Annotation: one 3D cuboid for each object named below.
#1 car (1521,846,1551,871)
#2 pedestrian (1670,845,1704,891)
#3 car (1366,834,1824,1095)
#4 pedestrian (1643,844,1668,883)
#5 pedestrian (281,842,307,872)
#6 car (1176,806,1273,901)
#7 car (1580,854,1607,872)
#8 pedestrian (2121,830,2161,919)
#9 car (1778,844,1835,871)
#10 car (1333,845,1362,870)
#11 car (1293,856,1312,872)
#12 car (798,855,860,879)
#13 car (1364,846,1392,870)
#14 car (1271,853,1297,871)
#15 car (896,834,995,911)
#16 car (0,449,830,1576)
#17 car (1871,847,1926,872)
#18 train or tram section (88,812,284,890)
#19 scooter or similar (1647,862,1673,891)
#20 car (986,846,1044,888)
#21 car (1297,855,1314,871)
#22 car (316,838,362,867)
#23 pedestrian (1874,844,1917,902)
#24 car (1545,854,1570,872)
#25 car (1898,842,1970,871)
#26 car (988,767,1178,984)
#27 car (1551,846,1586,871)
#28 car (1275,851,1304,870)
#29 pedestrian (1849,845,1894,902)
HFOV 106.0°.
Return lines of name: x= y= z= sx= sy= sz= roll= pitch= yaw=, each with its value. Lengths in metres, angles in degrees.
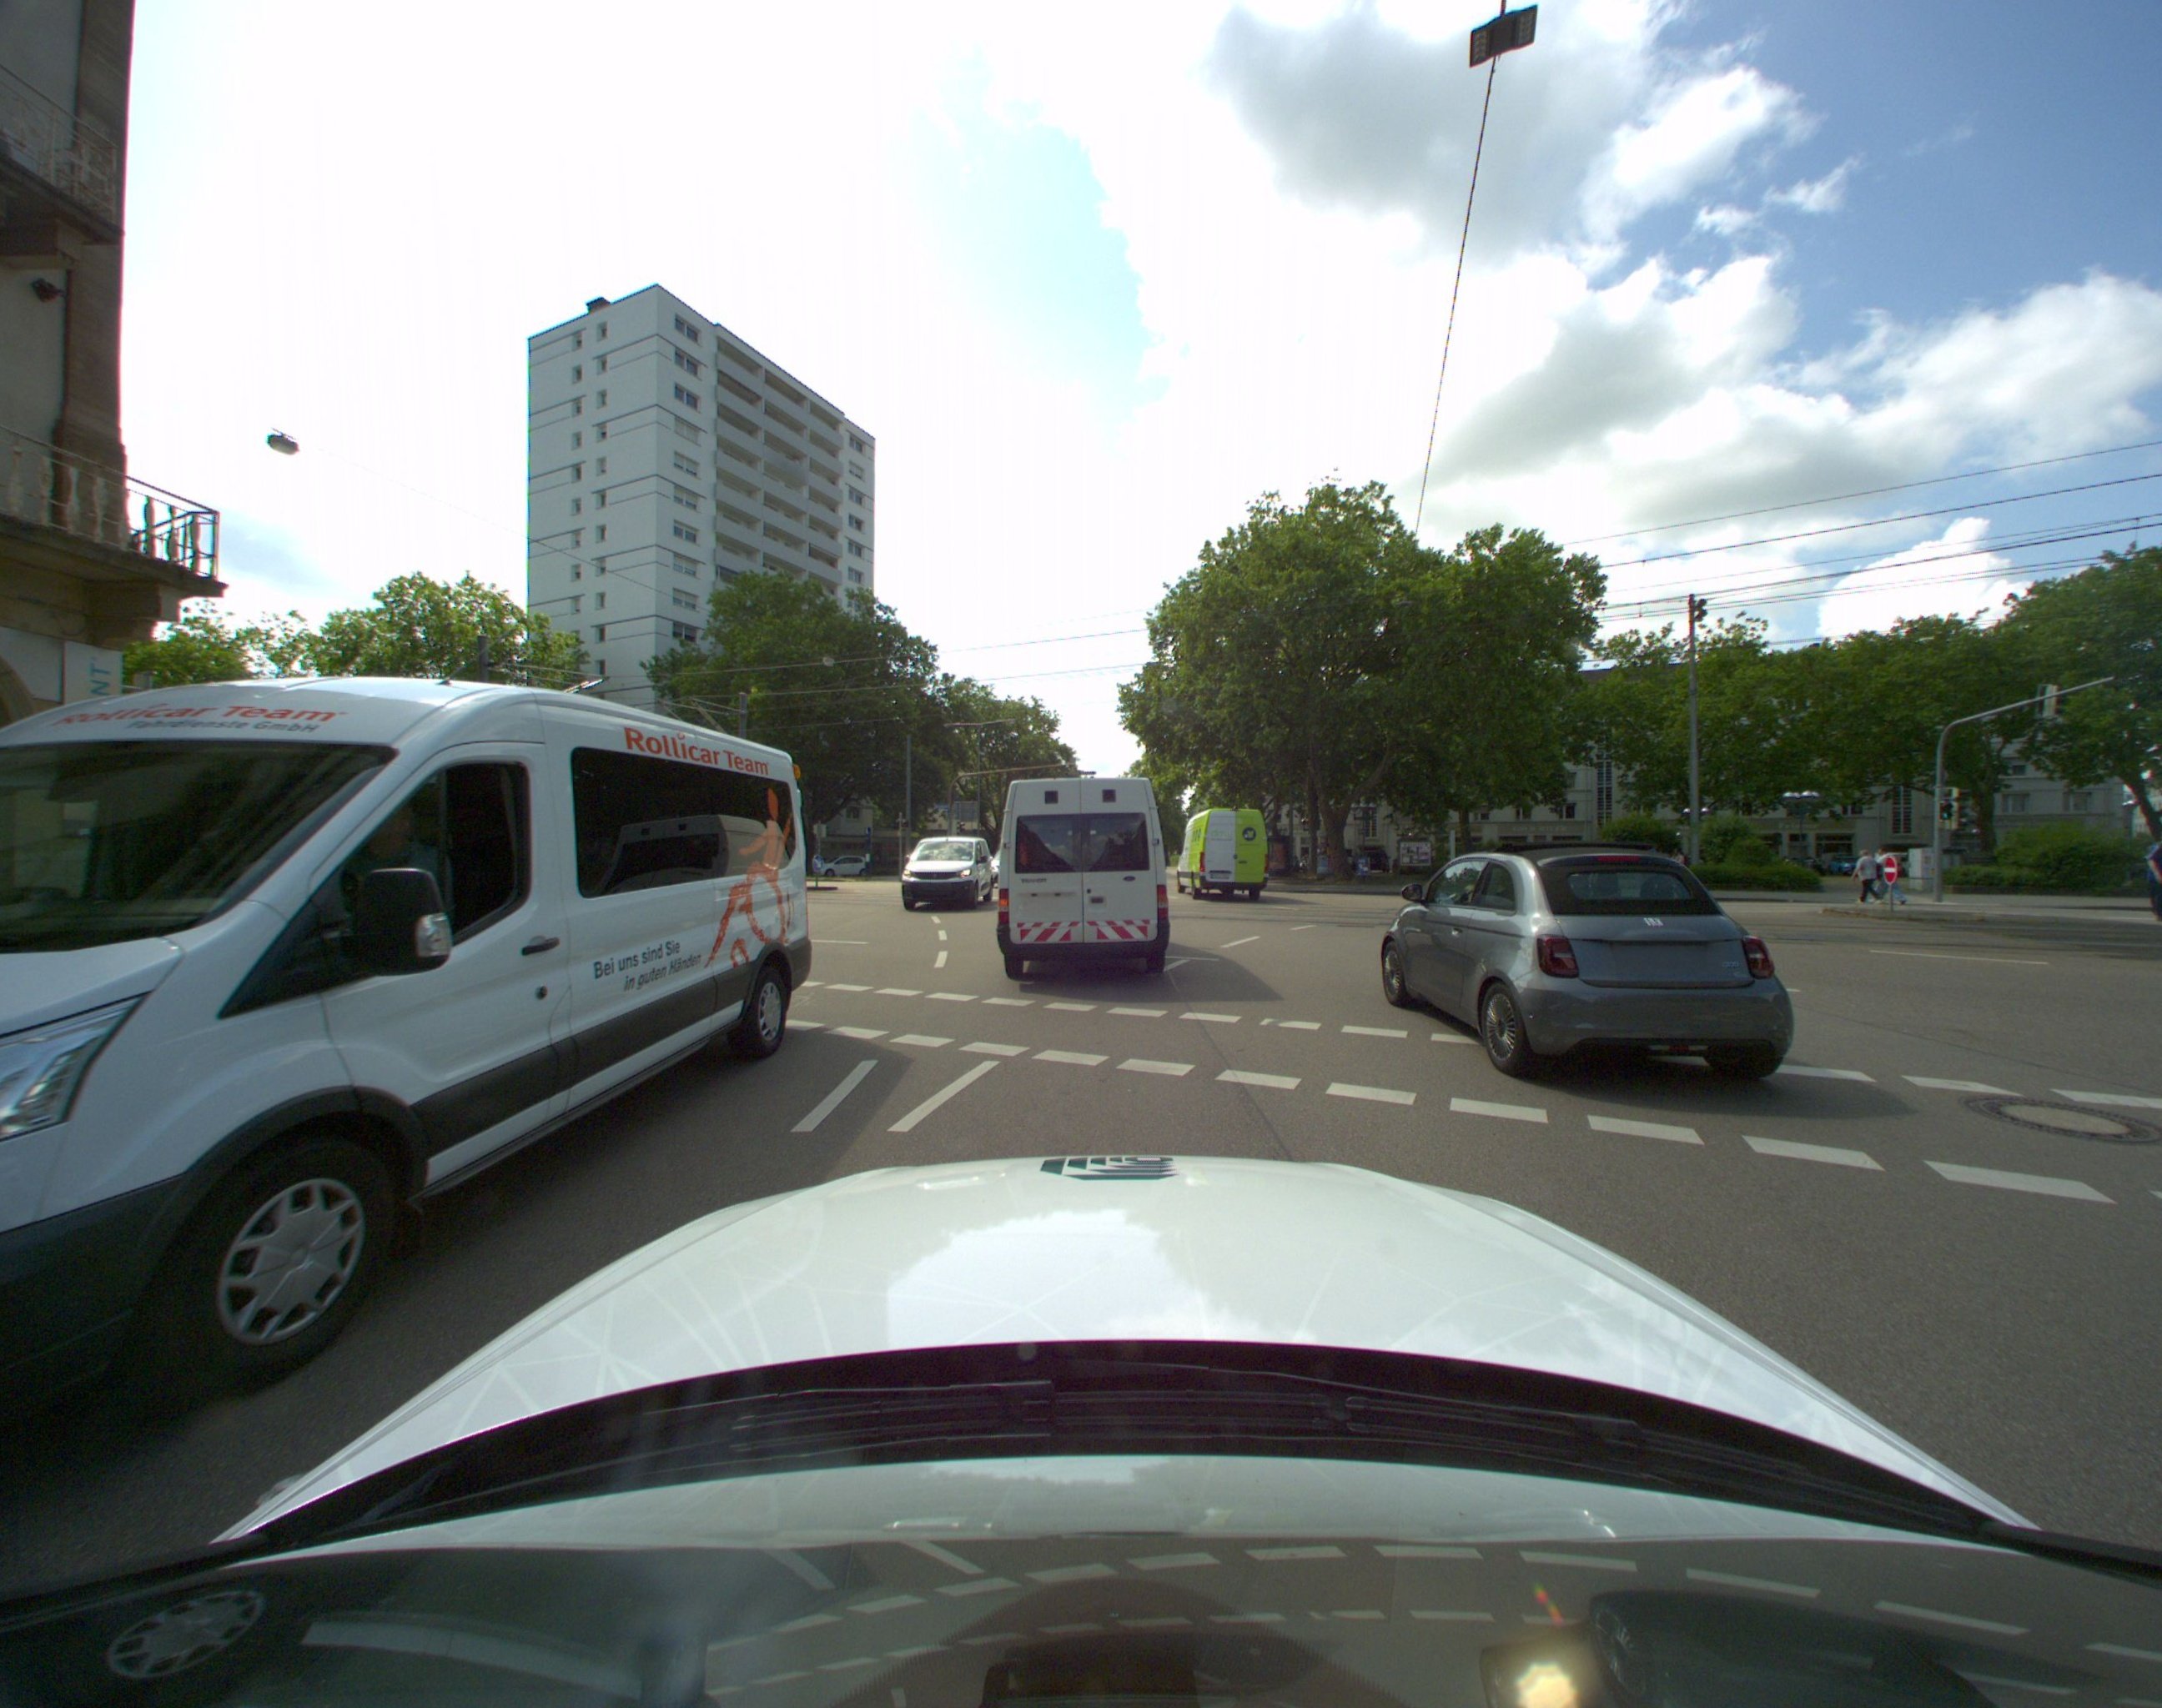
car: x=37.744 y=0.384 z=67.662 sx=1.975 sy=2.014 sz=4.024 roll=0 pitch=-1 yaw=27
pedestrian: x=22.242 y=0.507 z=29.895 sx=0.911 sy=1.646 sz=0.573 roll=0 pitch=0 yaw=27
car: x=3.647 y=0.637 z=6.568 sx=1.684 sy=1.538 sz=3.472 roll=0 pitch=0 yaw=4
pedestrian: x=25.492 y=0.420 z=36.134 sx=0.694 sy=1.750 sz=0.606 roll=0 pitch=0 yaw=1
pedestrian: x=-46.695 y=0.165 z=48.314 sx=0.866 sy=1.775 sz=0.865 roll=0 pitch=-1 yaw=25
car: x=4.365 y=-0.017 z=25.812 sx=2.112 sy=2.641 sz=6.330 roll=0 pitch=0 yaw=1
car: x=46.937 y=0.791 z=74.682 sx=1.722 sy=1.637 sz=4.024 roll=0 pitch=-1 yaw=27
pedestrian: x=21.484 y=0.394 z=16.189 sx=0.734 sy=1.731 sz=0.777 roll=0 pitch=0 yaw=25
car: x=53.454 y=0.240 z=60.078 sx=2.078 sy=1.905 sz=4.518 roll=0 pitch=-1 yaw=27
car: x=23.867 y=0.312 z=72.842 sx=1.975 sy=2.183 sz=4.282 roll=0 pitch=0 yaw=26
car: x=19.256 y=0.878 z=70.764 sx=1.454 sy=1.389 sz=3.080 roll=0 pitch=0 yaw=17
car: x=-16.590 y=0.819 z=53.738 sx=3.592 sy=1.544 sz=1.540 roll=0 pitch=-1 yaw=-37
car: x=26.399 y=0.353 z=72.298 sx=1.975 sy=2.076 sz=4.023 roll=0 pitch=0 yaw=26
car: x=21.673 y=0.839 z=86.823 sx=1.888 sy=1.796 sz=4.746 roll=0 pitch=-1 yaw=23
car: x=-3.384 y=0.387 z=21.147 sx=1.806 sy=1.775 sz=4.284 roll=-1 pitch=1 yaw=0
car: x=-3.370 y=0.279 z=4.554 sx=2.069 sy=2.444 sz=5.945 roll=0 pitch=1 yaw=0
car: x=66.015 y=0.415 z=65.813 sx=1.975 sy=1.964 sz=4.024 roll=0 pitch=-1 yaw=27
train or tram section: x=-45.232 y=-0.110 z=41.013 sx=12.855 sy=3.584 sz=2.832 roll=0 pitch=-1 yaw=25
scooter or similar: x=21.524 y=0.817 z=30.274 sx=0.699 sy=1.056 sz=0.494 roll=0 pitch=0 yaw=27
car: x=-2.651 y=0.490 z=33.483 sx=1.763 sy=1.582 sz=4.025 roll=-1 pitch=1 yaw=4
car: x=23.722 y=0.909 z=85.893 sx=1.453 sy=1.666 sz=3.083 roll=0 pitch=0 yaw=21
car: x=-73.805 y=-0.162 z=81.020 sx=4.226 sy=2.775 sz=1.823 roll=0 pitch=-1 yaw=25
pedestrian: x=25.220 y=0.569 z=25.226 sx=0.665 sy=1.764 sz=0.693 roll=0 pitch=0 yaw=2
car: x=44.419 y=0.808 z=75.961 sx=1.722 sy=1.637 sz=4.024 roll=0 pitch=-1 yaw=27
car: x=59.527 y=0.200 z=56.918 sx=2.078 sy=1.905 sz=4.518 roll=0 pitch=-1 yaw=27
car: x=0.030 y=0.206 z=11.149 sx=2.040 sy=2.333 sz=4.714 roll=0 pitch=0 yaw=0
car: x=39.903 y=0.380 z=66.701 sx=1.976 sy=2.014 sz=4.022 roll=0 pitch=-1 yaw=24
car: x=19.541 y=0.605 z=76.194 sx=1.888 sy=1.690 sz=4.564 roll=0 pitch=-1 yaw=24
pedestrian: x=24.497 y=0.596 z=25.243 sx=0.715 sy=1.722 sz=0.693 roll=0 pitch=0 yaw=2
